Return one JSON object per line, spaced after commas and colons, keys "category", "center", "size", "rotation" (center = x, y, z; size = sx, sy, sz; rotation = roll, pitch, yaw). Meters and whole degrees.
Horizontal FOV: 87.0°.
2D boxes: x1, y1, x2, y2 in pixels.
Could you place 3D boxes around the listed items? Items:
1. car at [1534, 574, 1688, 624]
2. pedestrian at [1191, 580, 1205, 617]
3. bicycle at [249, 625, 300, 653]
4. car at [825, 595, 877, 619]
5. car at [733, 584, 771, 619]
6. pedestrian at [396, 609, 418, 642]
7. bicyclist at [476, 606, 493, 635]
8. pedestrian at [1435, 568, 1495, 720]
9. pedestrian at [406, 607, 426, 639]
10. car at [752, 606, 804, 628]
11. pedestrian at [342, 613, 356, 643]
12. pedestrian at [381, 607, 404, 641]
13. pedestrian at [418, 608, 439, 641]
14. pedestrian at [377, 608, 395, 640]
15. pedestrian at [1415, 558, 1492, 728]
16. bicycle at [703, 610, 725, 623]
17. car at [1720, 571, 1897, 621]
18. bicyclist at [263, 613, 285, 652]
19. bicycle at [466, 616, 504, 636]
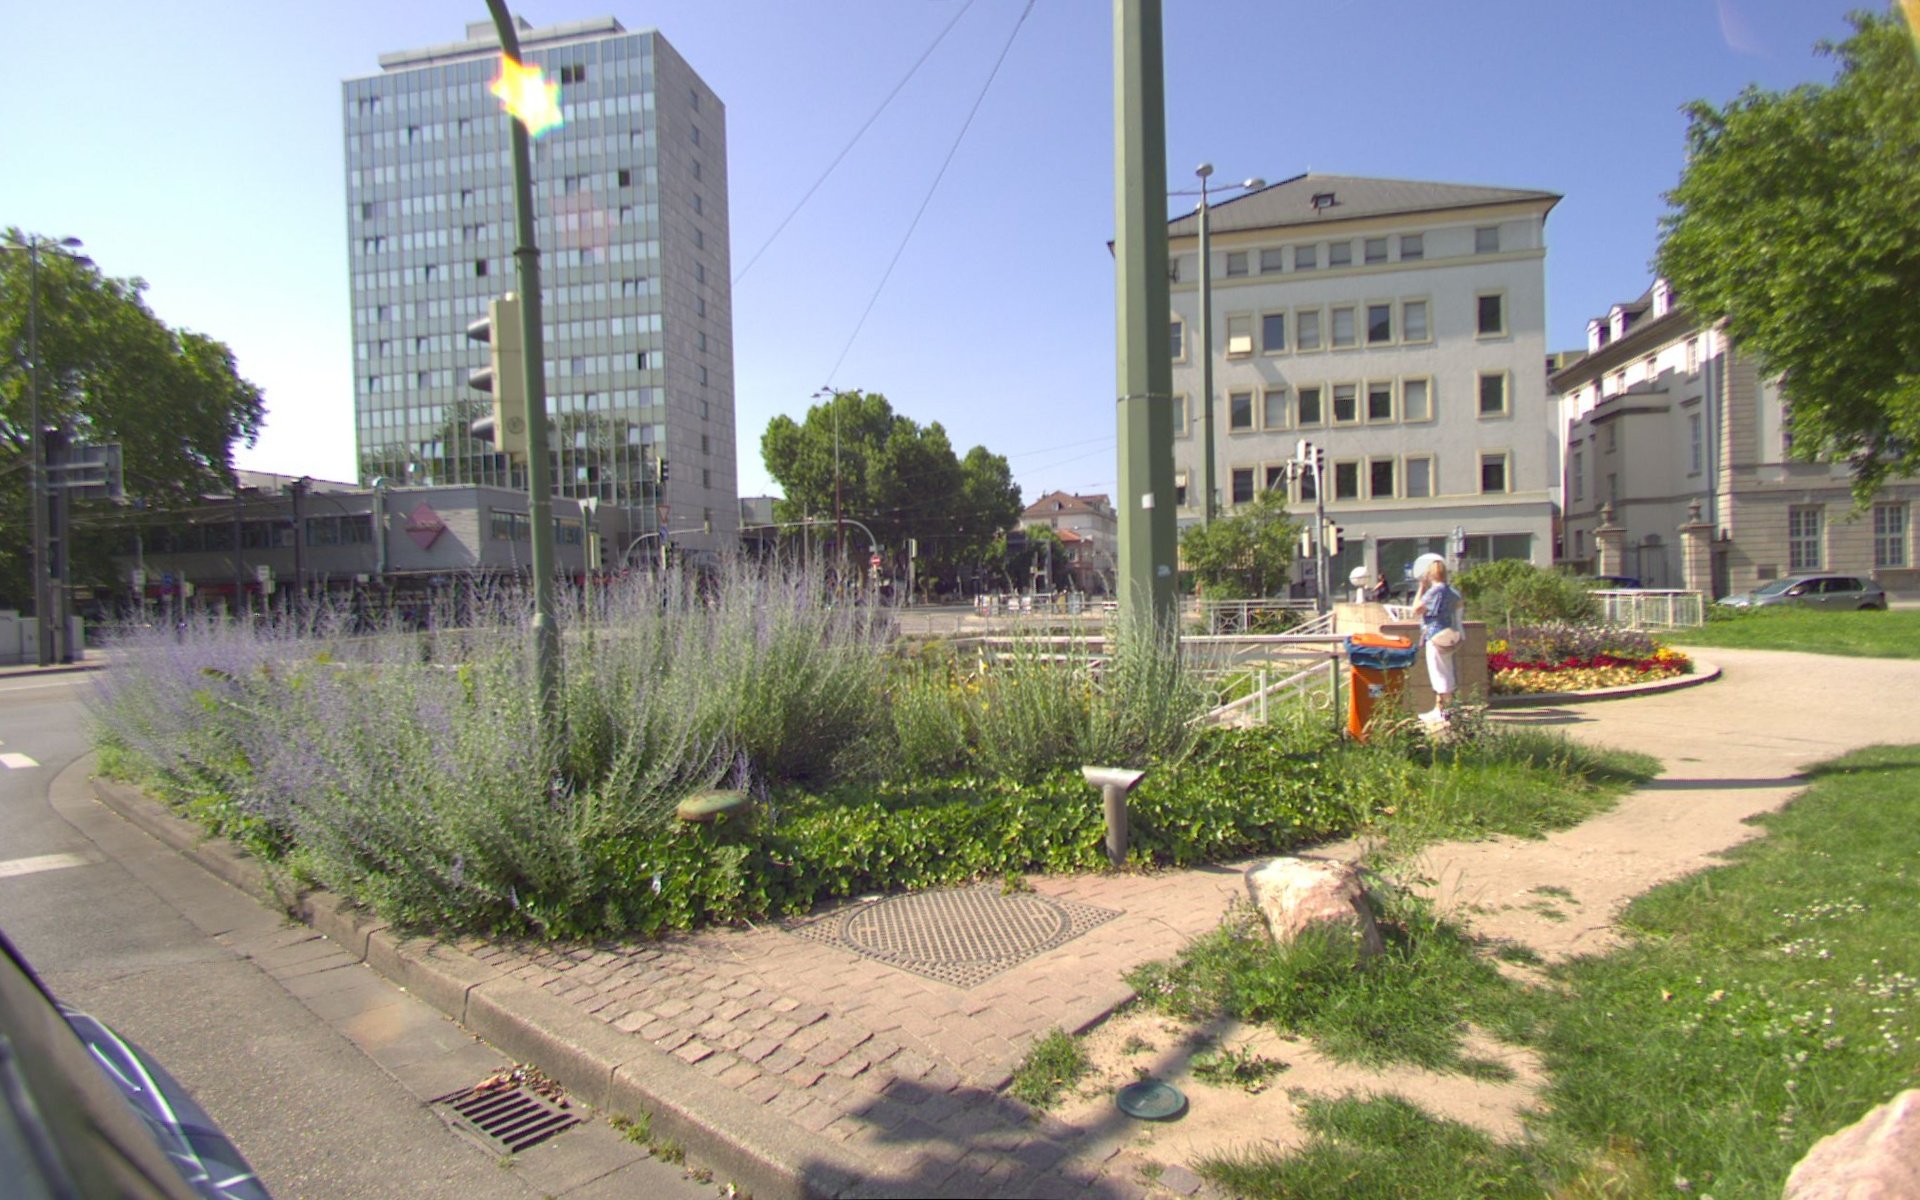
{"category": "car", "center": [19.798, -0.044, 30.913], "size": [3.547, 1.356, 1.606], "rotation": [-2, 0, 12]}
{"category": "pedestrian", "center": [11.361, -0.072, 48.284], "size": [0.635, 1.772, 0.592], "rotation": [-1, 0, 15]}
{"category": "bicycle", "center": [-30.771, 1.736, 45.452], "size": [0.521, 1.175, 1.793], "rotation": [-1, 0, 38]}
{"category": "car", "center": [-7.735, 0.481, 71.916], "size": [1.871, 1.545, 4.045], "rotation": [-2, 0, 24]}
{"category": "car", "center": [-18.436, 0.092, 89.954], "size": [1.728, 2.938, 4.623], "rotation": [-2, 0, 9]}
{"category": "pedestrian", "center": [-30.791, 1.412, 56.334], "size": [0.664, 1.850, 0.821], "rotation": [-1, 0, 11]}
{"category": "bicyclist", "center": [-28.094, 1.205, 59.822], "size": [0.583, 1.700, 0.675], "rotation": [-2, 0, 42]}
{"category": "pedestrian", "center": [5.278, 0.443, 10.607], "size": [0.472, 1.521, 0.844], "rotation": [-2, 0, 24]}
{"category": "pedestrian", "center": [-31.261, 1.315, 58.144], "size": [0.671, 1.850, 0.812], "rotation": [-1, 0, 42]}
{"category": "car", "center": [-13.634, 1.282, 75.993], "size": [1.871, 1.471, 4.130], "rotation": [-2, 0, 24]}
{"category": "pedestrian", "center": [-34.475, 1.554, 57.089], "size": [0.589, 1.650, 0.567], "rotation": [-1, 0, -23]}
{"category": "pedestrian", "center": [-31.746, 1.349, 56.592], "size": [0.727, 1.850, 0.821], "rotation": [-1, 0, 11]}
{"category": "pedestrian", "center": [-29.889, 1.362, 56.945], "size": [0.664, 1.850, 0.821], "rotation": [-1, 0, 10]}
{"category": "pedestrian", "center": [-33.239, 1.398, 58.590], "size": [0.811, 1.820, 0.672], "rotation": [-1, 0, -41]}
{"category": "pedestrian", "center": [4.836, 0.407, 9.950], "size": [0.596, 1.605, 0.687], "rotation": [-2, 0, 24]}
{"category": "bicycle", "center": [-18.035, 1.197, 74.254], "size": [0.589, 0.889, 1.797], "rotation": [0, 1, 22]}
{"category": "car", "center": [24.615, -0.115, 29.469], "size": [3.547, 1.278, 1.606], "rotation": [-2, 0, 12]}
{"category": "bicyclist", "center": [-30.807, 1.463, 45.425], "size": [0.521, 1.719, 0.675], "rotation": [-1, 0, 39]}
{"category": "bicycle", "center": [-28.079, 1.521, 59.848], "size": [0.577, 1.110, 1.942], "rotation": [-2, 0, 41]}
